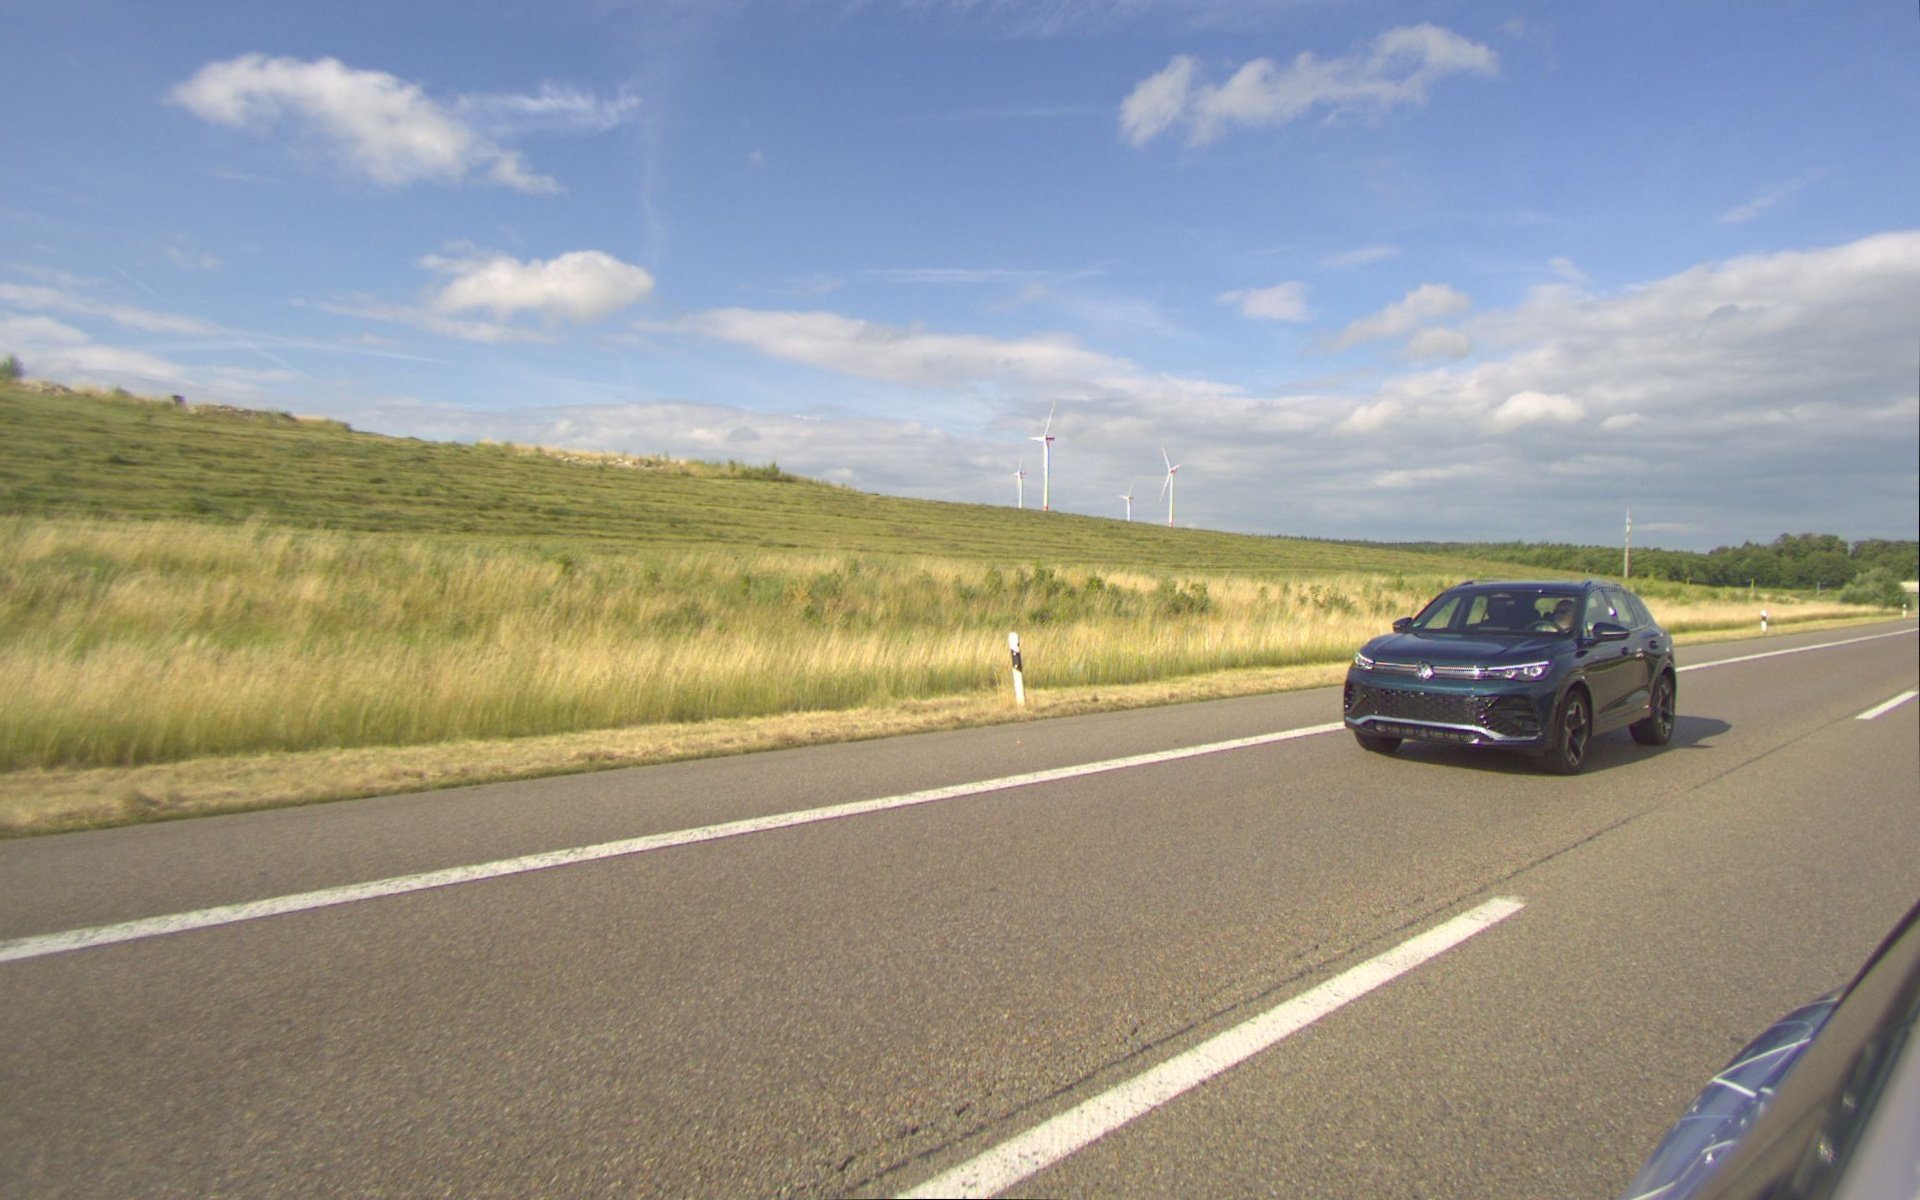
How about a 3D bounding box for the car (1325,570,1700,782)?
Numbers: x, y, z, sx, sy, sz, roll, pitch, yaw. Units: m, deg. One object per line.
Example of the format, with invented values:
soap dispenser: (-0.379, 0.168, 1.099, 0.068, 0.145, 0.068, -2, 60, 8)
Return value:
car: (5.461, 0.570, 9.785, 4.160, 1.621, 1.824, 0, 0, -40)
